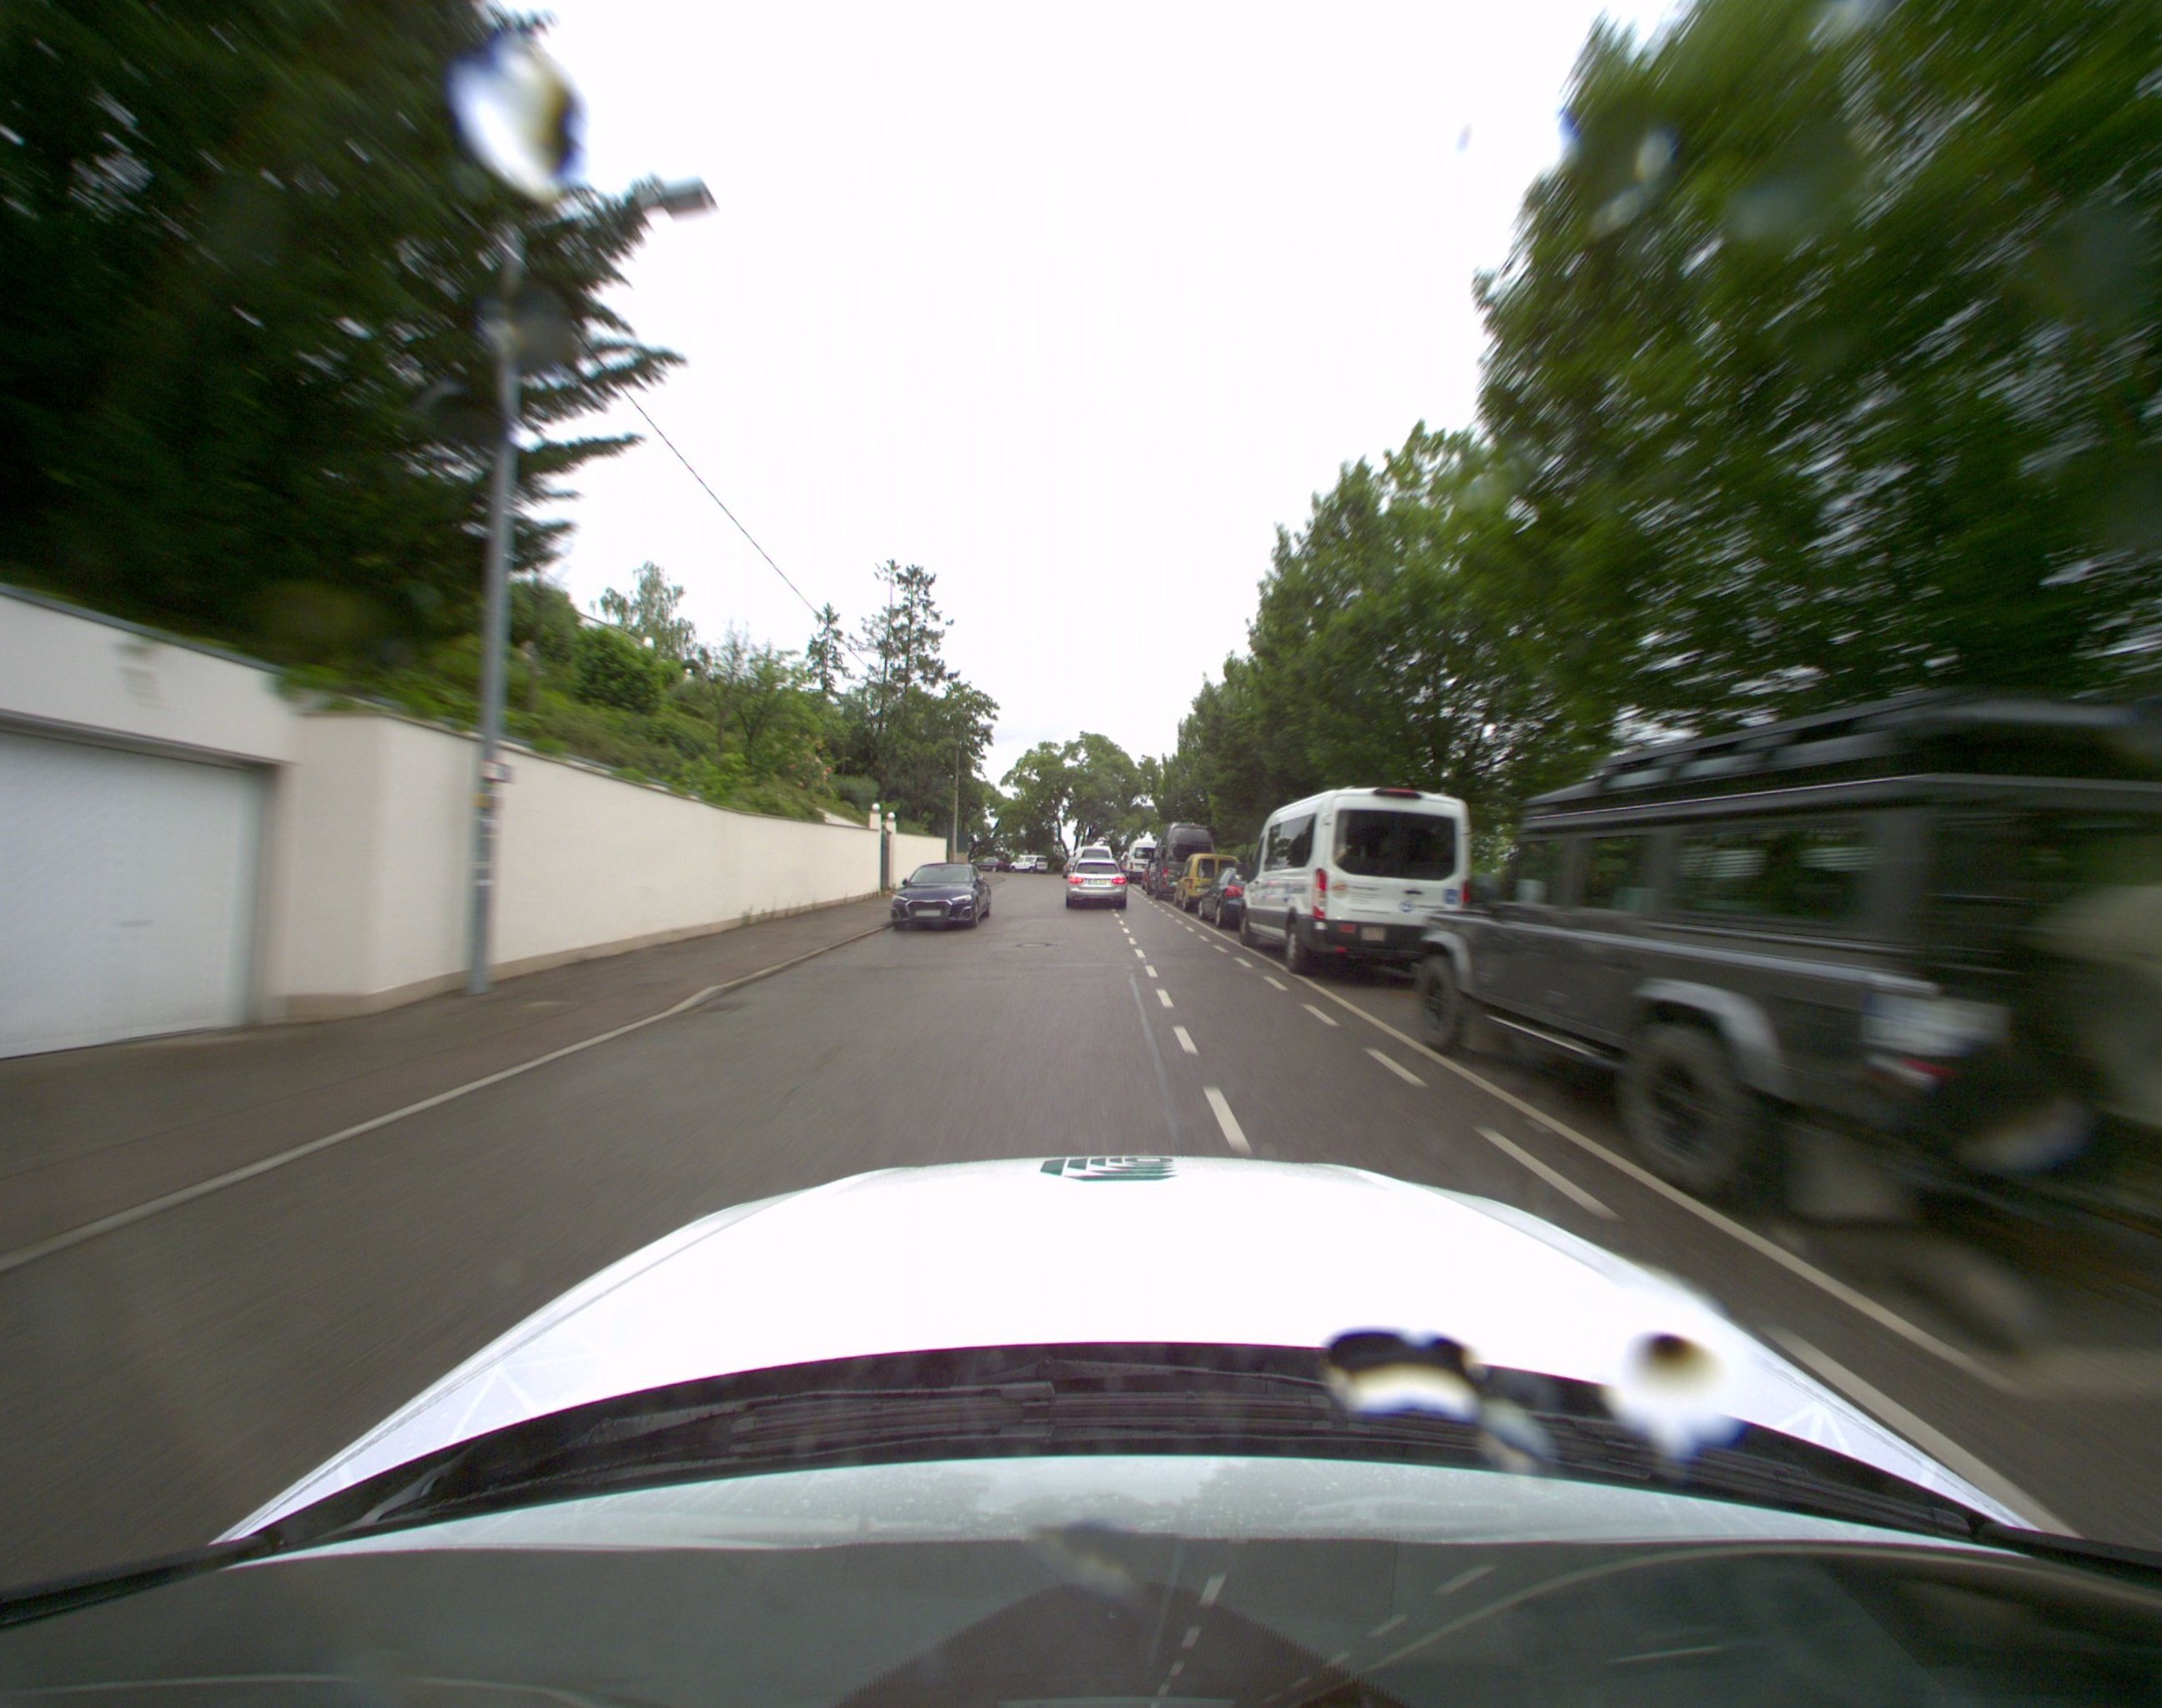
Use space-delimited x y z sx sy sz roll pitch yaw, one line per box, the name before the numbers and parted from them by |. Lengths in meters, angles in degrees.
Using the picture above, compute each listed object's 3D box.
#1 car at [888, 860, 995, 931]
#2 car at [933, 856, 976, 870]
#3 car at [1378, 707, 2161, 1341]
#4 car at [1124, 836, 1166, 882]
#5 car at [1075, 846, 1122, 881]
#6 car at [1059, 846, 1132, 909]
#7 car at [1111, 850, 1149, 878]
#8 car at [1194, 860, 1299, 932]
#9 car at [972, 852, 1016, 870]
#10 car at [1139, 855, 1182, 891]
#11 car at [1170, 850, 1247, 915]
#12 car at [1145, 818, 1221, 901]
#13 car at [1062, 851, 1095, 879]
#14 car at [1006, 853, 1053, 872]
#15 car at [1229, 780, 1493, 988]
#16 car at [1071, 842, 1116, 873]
car | -3.121 0.879 19.109 1.743 1.357 4.424 -2 0 -1
car | -13.732 0.997 88.539 4.438 1.401 1.983 -1 0 35
car | 3.840 0.569 5.227 1.987 2.052 5.121 1 0 0
car | 3.720 0.256 48.088 2.057 2.494 4.759 2 0 0
car | 0.873 0.515 42.768 1.990 1.708 3.992 2 -1 -5
car | 0.406 0.648 24.943 2.019 1.708 4.215 1 0 0
car | 3.693 0.732 61.809 2.062 1.960 4.486 2 0 -7
car | 4.005 0.961 20.351 1.666 1.458 4.222 4 0 0
car | -9.092 0.707 84.907 4.613 1.697 1.982 3 0 45
car | 3.707 0.874 38.452 1.578 1.527 3.585 2 0 0
car | 3.957 0.813 25.931 1.721 1.785 4.276 4 0 1
car | 3.891 0.190 32.087 2.118 2.887 5.767 2 0 -1
car | -0.145 0.735 53.969 1.986 1.708 4.002 1 -1 2
car | -5.135 0.835 81.097 4.440 1.697 1.982 3 0 41
car | 4.030 0.361 13.131 2.166 2.493 6.034 2 0 1
car | 1.040 0.287 71.240 2.135 2.527 4.461 2 0 -24
